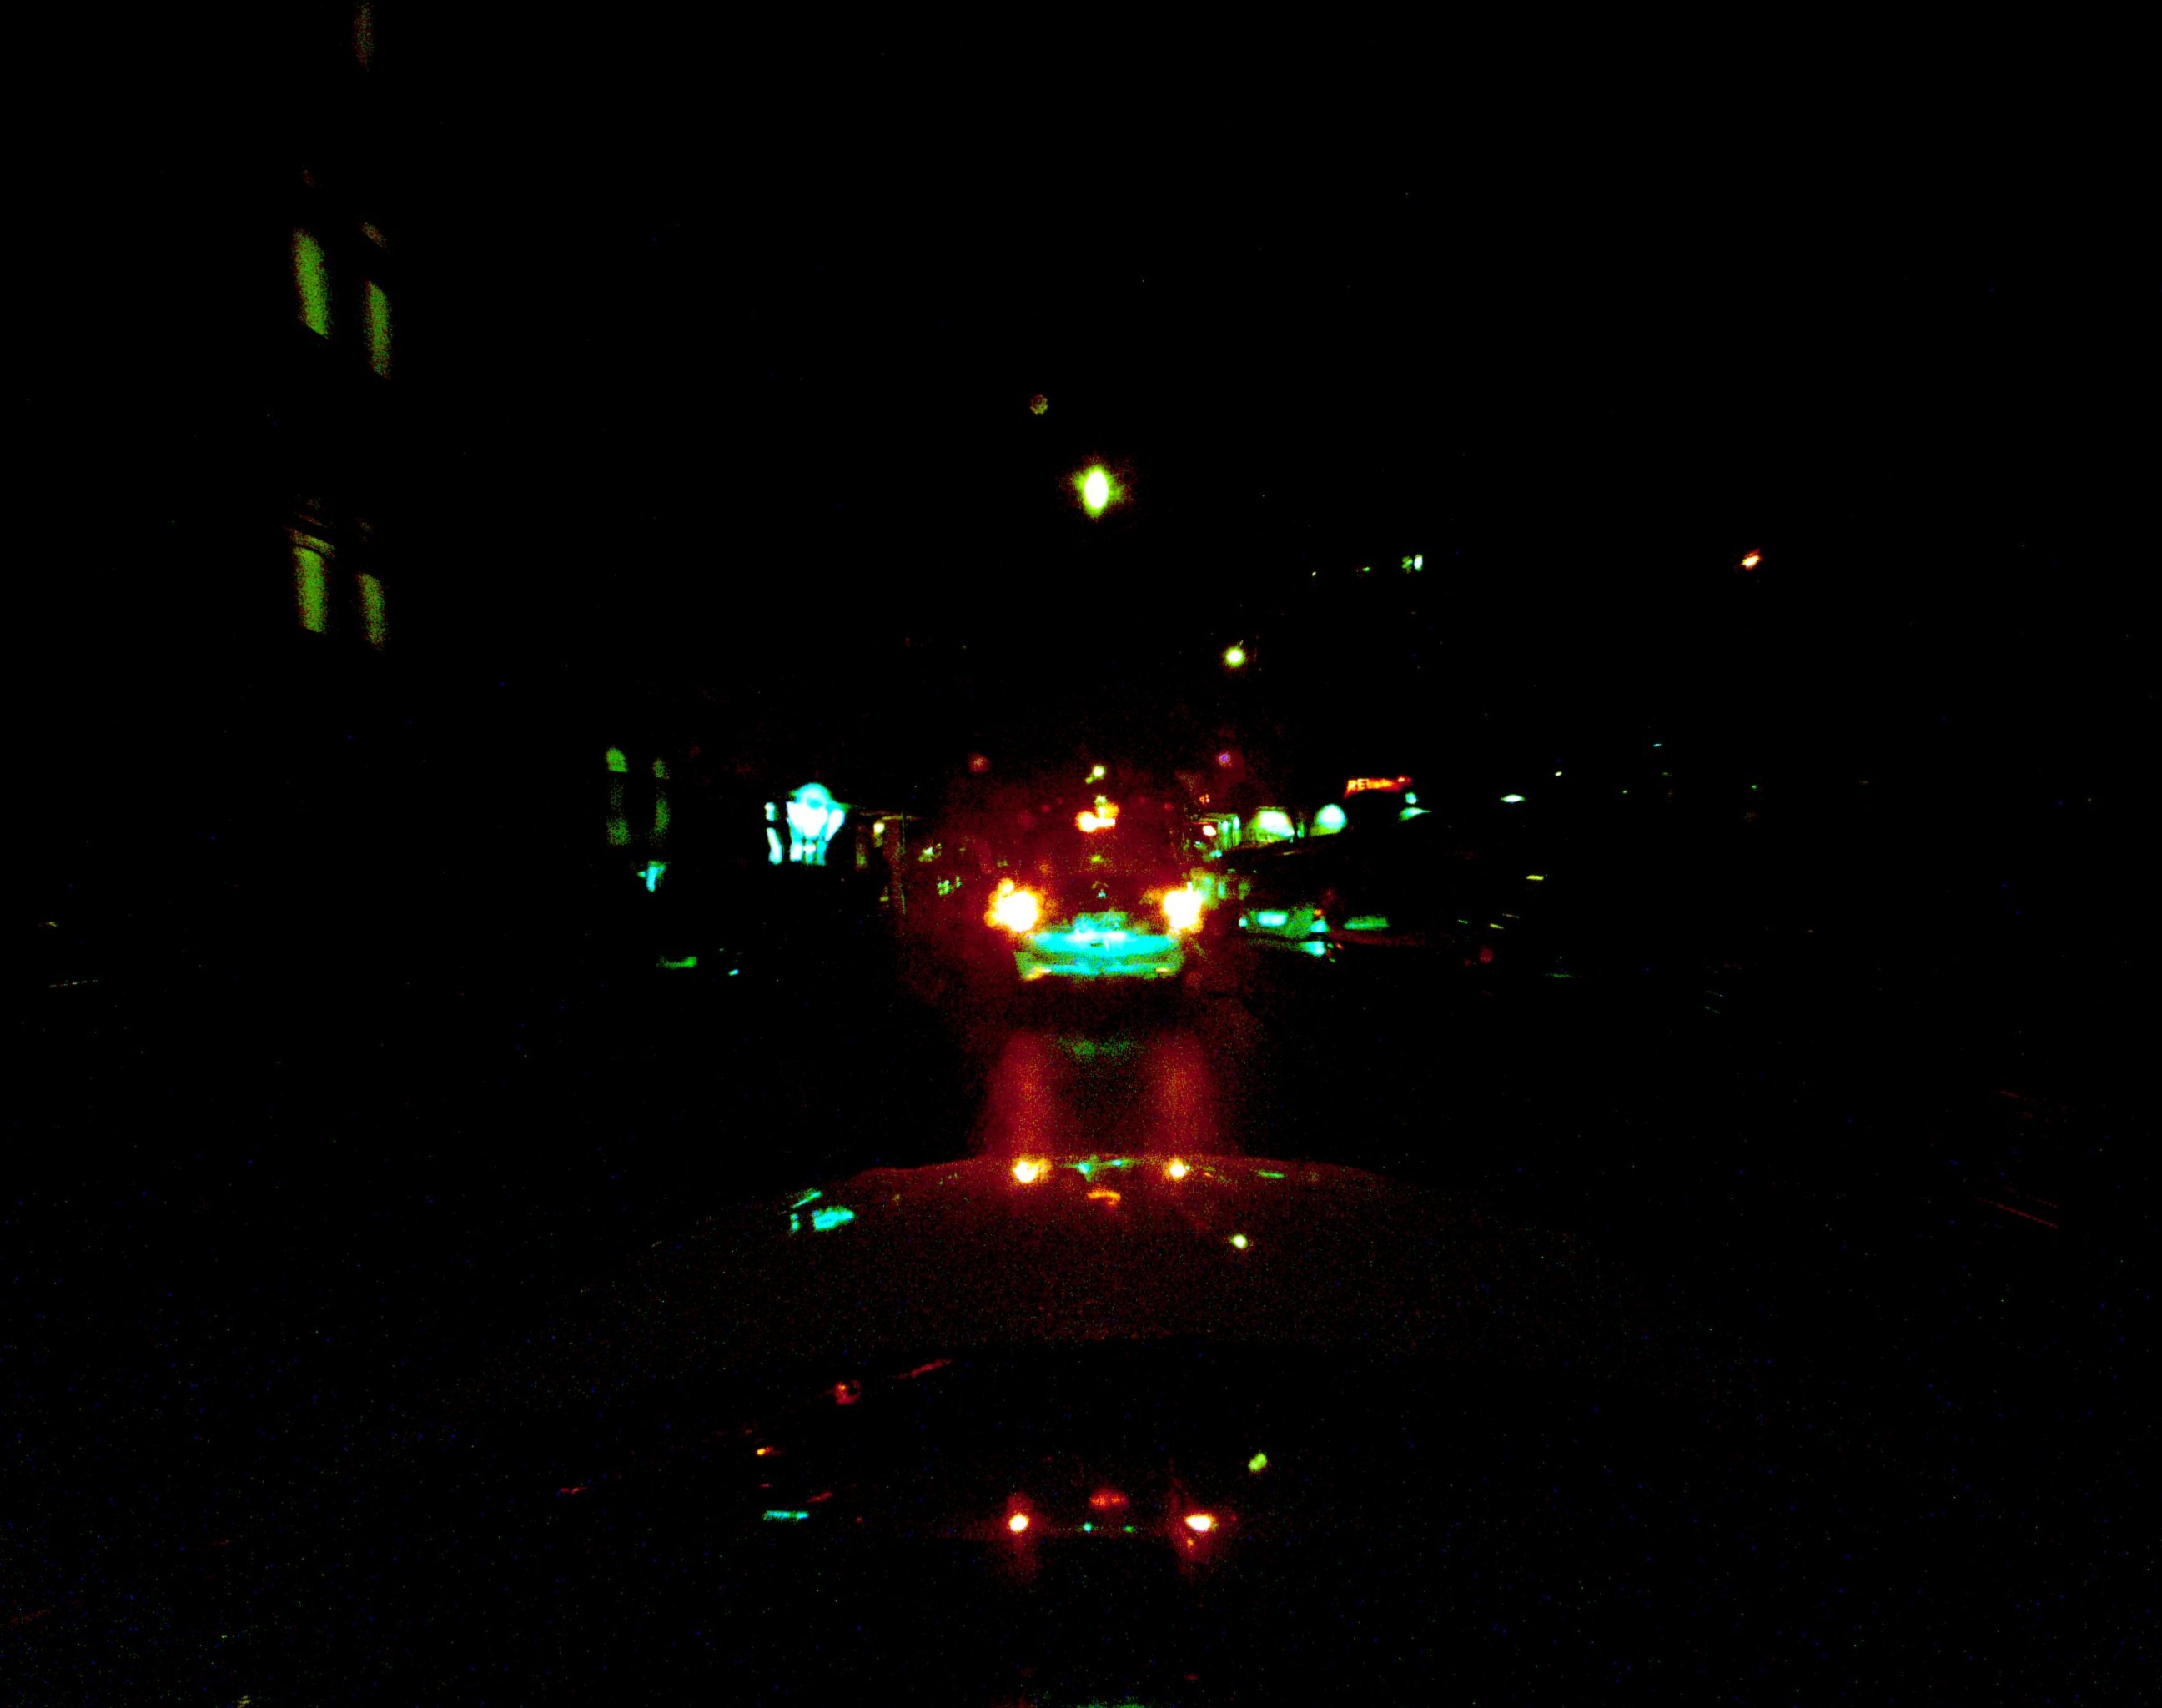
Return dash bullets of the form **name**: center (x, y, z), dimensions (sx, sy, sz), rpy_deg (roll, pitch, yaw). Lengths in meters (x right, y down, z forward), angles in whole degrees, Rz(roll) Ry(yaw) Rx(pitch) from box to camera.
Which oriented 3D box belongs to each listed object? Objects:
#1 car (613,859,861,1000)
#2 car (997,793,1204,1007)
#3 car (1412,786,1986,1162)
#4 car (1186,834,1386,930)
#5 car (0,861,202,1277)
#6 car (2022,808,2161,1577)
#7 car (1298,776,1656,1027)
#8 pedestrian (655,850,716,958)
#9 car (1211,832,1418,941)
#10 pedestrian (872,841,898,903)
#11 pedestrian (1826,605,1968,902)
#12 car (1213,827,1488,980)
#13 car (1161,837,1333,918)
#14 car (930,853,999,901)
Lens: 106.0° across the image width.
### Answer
- **car**: center (-4.490, 0.869, 11.389), dimensions (1.808, 1.557, 4.073), rpy_deg (-1, 0, -2)
- **car**: center (0.251, 0.482, 10.019), dimensions (1.986, 2.050, 4.001), rpy_deg (-2, -1, 2)
- **car**: center (4.312, 0.468, 5.508), dimensions (4.017, 1.587, 1.860), rpy_deg (-5, 0, -35)
- **car**: center (4.309, 0.493, 16.933), dimensions (4.017, 1.761, 1.860), rpy_deg (-1, 0, -35)
- **car**: center (-4.858, 0.825, 1.706), dimensions (1.651, 1.557, 4.073), rpy_deg (-1, 0, -2)
- **car**: center (3.975, 0.581, 2.028), dimensions (3.580, 1.453, 1.655), rpy_deg (-4, 0, -34)
- **car**: center (4.045, 0.314, 8.142), dimensions (3.581, 1.990, 1.588), rpy_deg (-4, 0, -35)
- **pedestrian**: center (-6.425, 0.798, 13.246), dimensions (0.698, 1.704, 0.539), rpy_deg (-1, 0, 1)
- **car**: center (4.244, 0.501, 14.658), dimensions (3.585, 1.733, 1.671), rpy_deg (-1, 0, -35)
- **pedestrian**: center (-6.106, 0.555, 25.453), dimensions (0.659, 1.904, 0.538), rpy_deg (-1, 0, -3)
- **pedestrian**: center (10.097, -1.202, 10.115), dimensions (0.888, 3.528, 0.791), rpy_deg (-1, 0, 1)
- **car**: center (3.668, 0.558, 10.875), dimensions (3.581, 1.590, 1.588), rpy_deg (-4, 0, -35)
- **car**: center (4.090, 0.514, 19.874), dimensions (4.017, 1.761, 1.860), rpy_deg (-1, 0, -35)
- **car**: center (-4.346, 0.811, 30.846), dimensions (1.877, 1.685, 4.002), rpy_deg (-1, 0, 2)
